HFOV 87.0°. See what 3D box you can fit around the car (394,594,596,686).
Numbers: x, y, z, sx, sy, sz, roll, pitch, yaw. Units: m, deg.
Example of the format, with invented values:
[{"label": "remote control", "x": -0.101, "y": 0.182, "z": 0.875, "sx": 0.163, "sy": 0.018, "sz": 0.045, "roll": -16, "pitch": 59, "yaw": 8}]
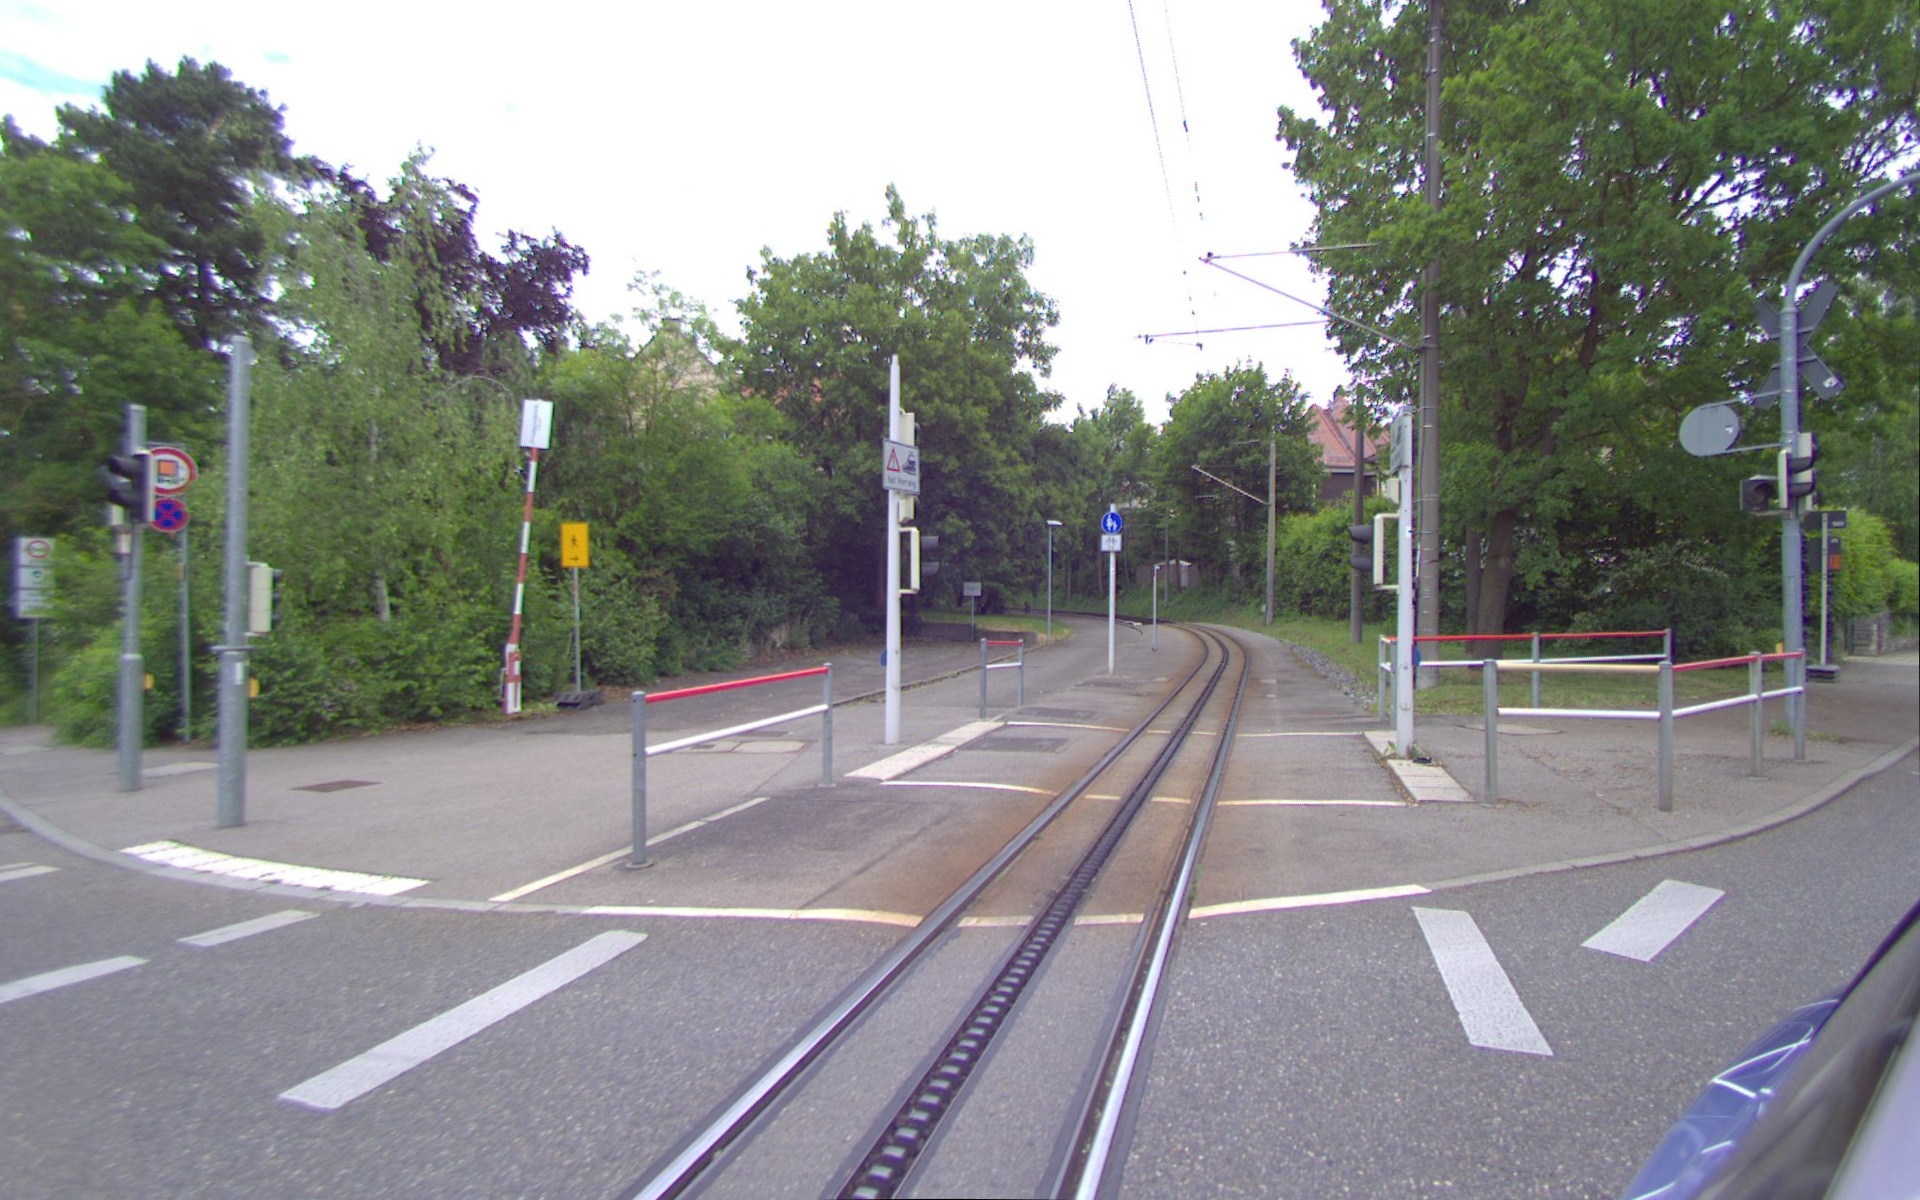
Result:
[{"label": "car", "x": -8.642, "y": 0.669, "z": 18.614, "sx": 1.968, "sy": 1.482, "sz": 4.505, "roll": 0, "pitch": -1, "yaw": -45}]
